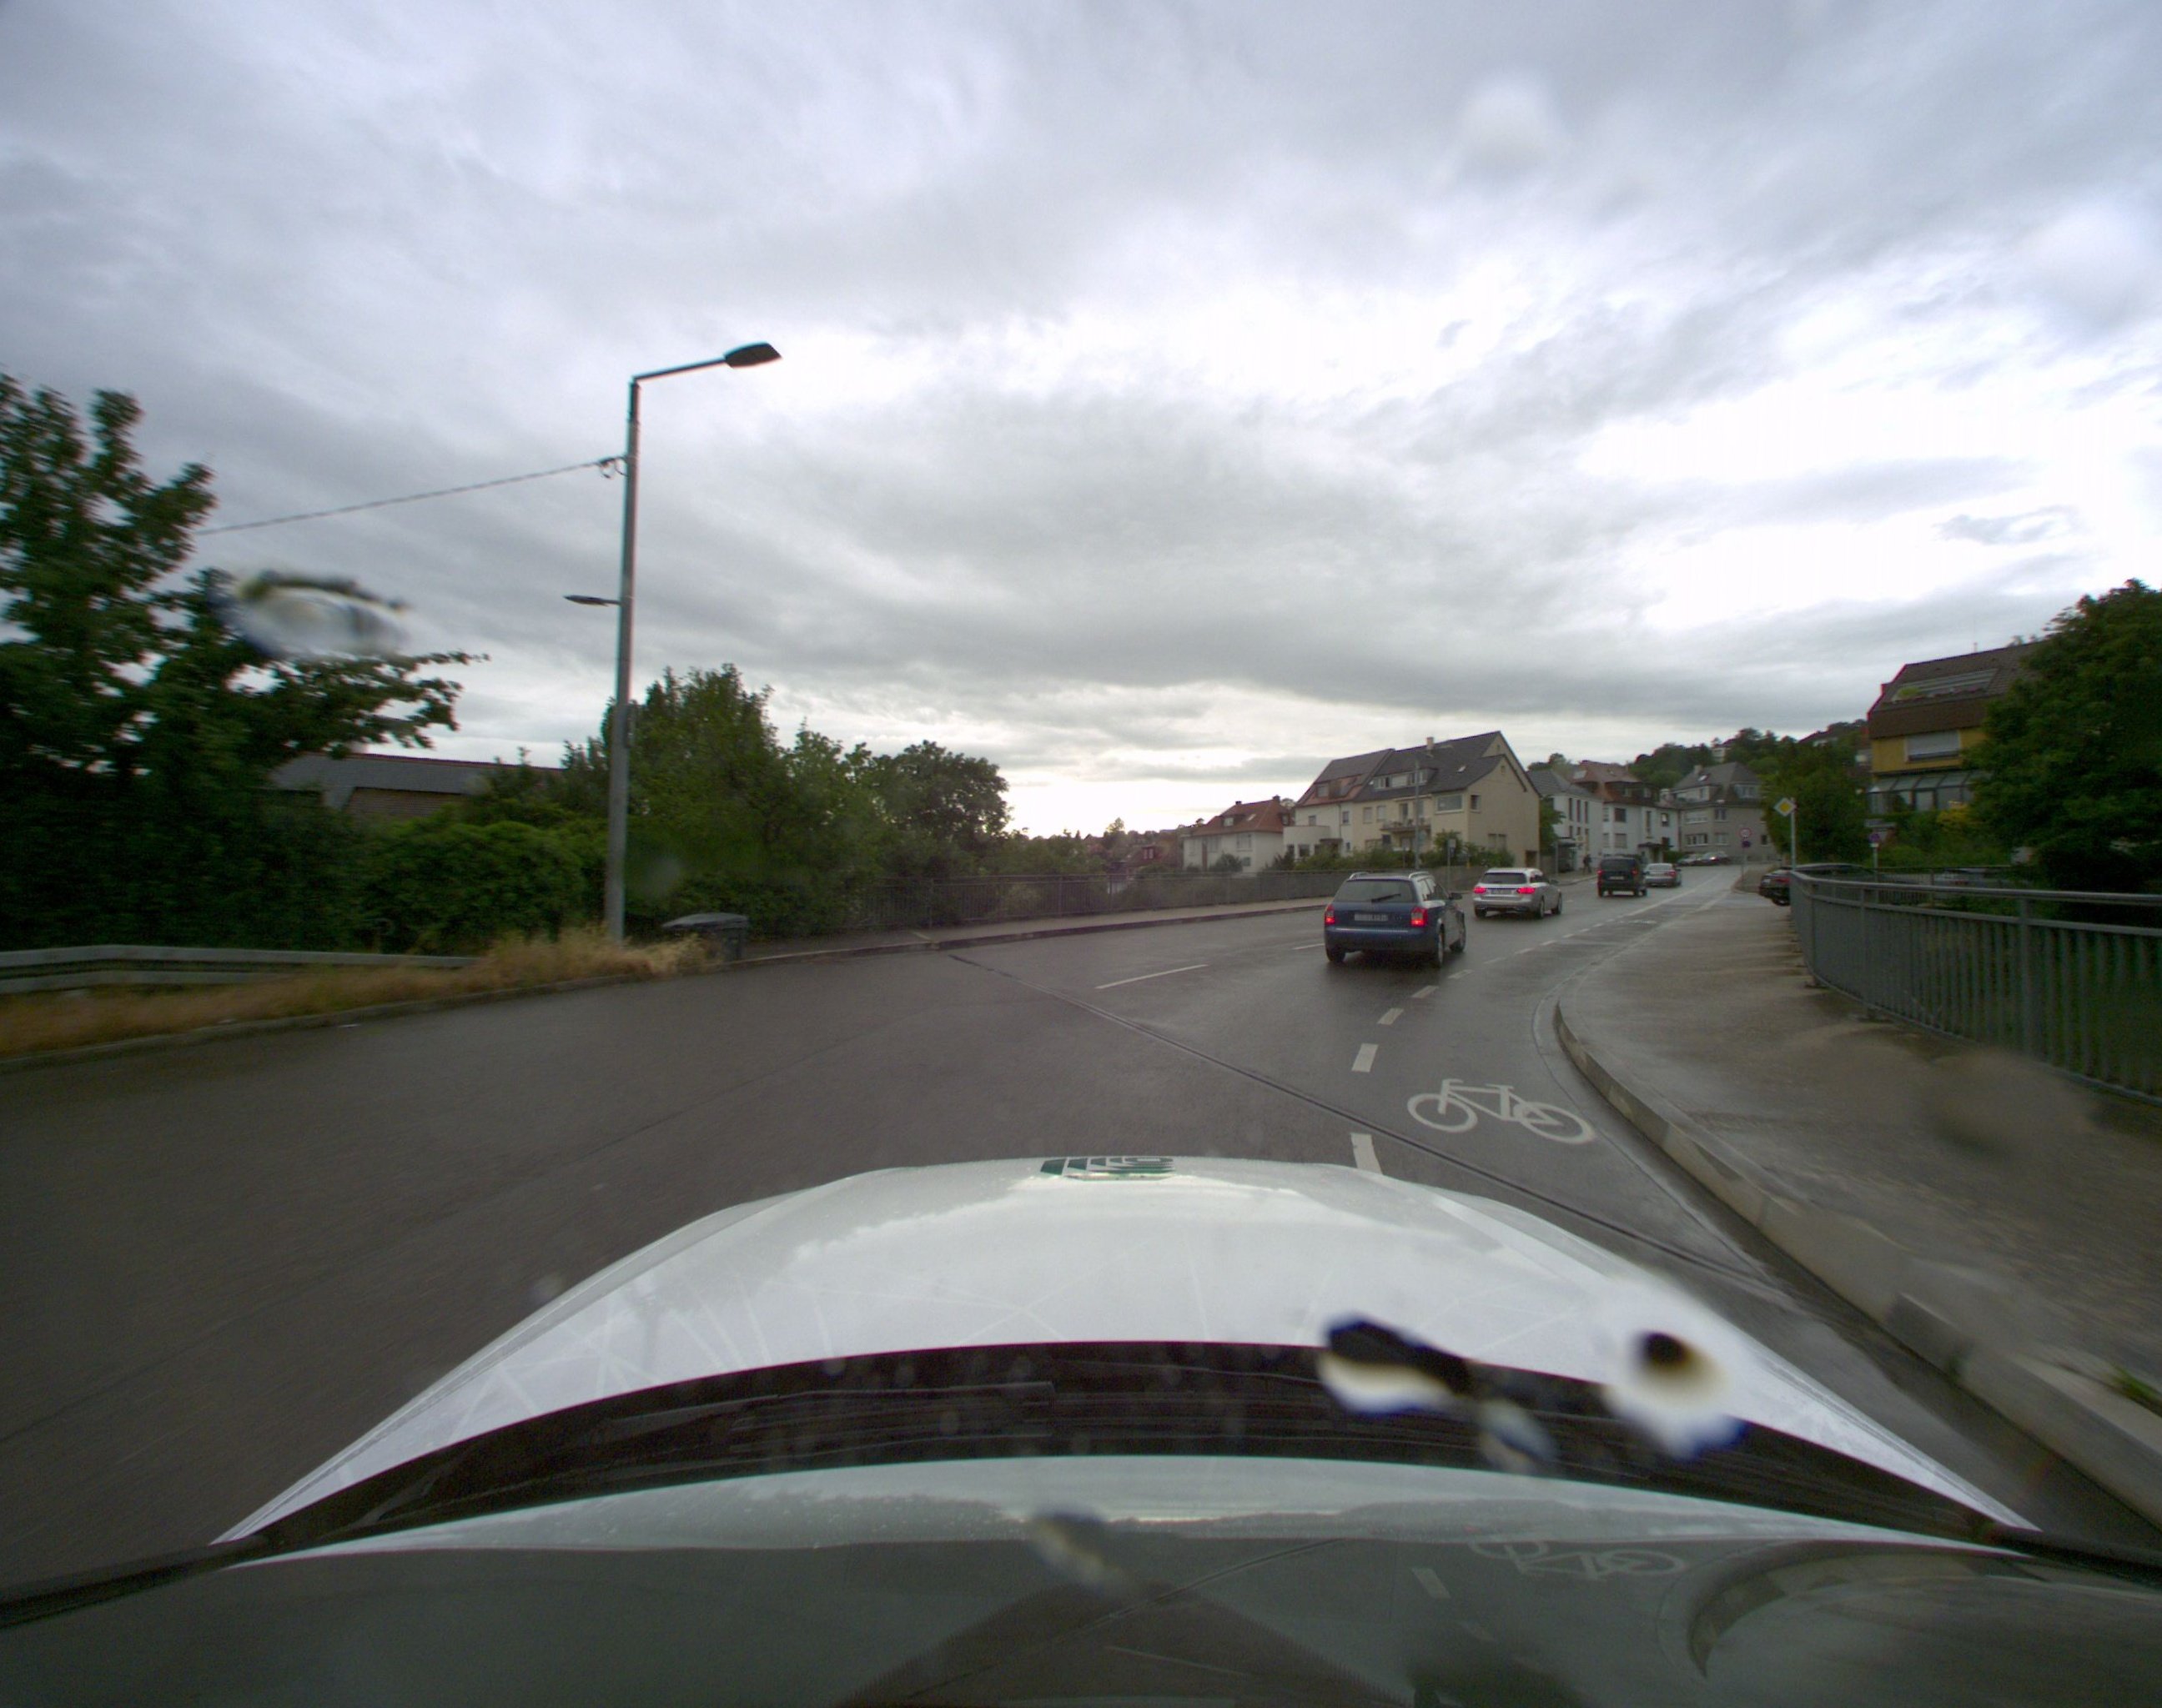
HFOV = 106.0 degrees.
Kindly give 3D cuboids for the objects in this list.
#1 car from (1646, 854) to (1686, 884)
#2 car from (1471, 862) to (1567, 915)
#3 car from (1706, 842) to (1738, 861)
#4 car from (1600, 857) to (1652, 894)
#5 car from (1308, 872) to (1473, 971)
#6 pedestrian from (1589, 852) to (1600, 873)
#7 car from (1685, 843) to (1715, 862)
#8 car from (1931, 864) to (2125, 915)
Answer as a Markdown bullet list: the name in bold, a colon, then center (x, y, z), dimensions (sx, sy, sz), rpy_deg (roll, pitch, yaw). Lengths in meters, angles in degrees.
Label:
- **car**: center (35.704, 0.890, 49.691), dimensions (1.804, 1.730, 3.809), rpy_deg (2, 1, 37)
- **car**: center (13.101, 0.988, 24.249), dimensions (1.873, 1.389, 4.025), rpy_deg (2, 0, 37)
- **car**: center (68.968, -0.259, 87.570), dimensions (4.021, 2.013, 1.977), rpy_deg (1, 1, -41)
- **car**: center (25.742, 0.970, 38.437), dimensions (1.804, 1.617, 3.809), rpy_deg (2, 1, 37)
- **car**: center (5.330, 1.009, 13.702), dimensions (1.730, 1.408, 4.025), rpy_deg (-1, -2, 34)
- **pedestrian**: center (42.842, 0.742, 67.899), dimensions (0.651, 1.691, 0.585), rpy_deg (-4, -1, 35)
- **car**: center (71.410, -0.156, 93.903), dimensions (4.021, 2.013, 1.977), rpy_deg (1, 1, -41)
- **car**: center (30.905, 1.118, 26.750), dimensions (3.737, 1.424, 1.839), rpy_deg (2, 0, 30)
